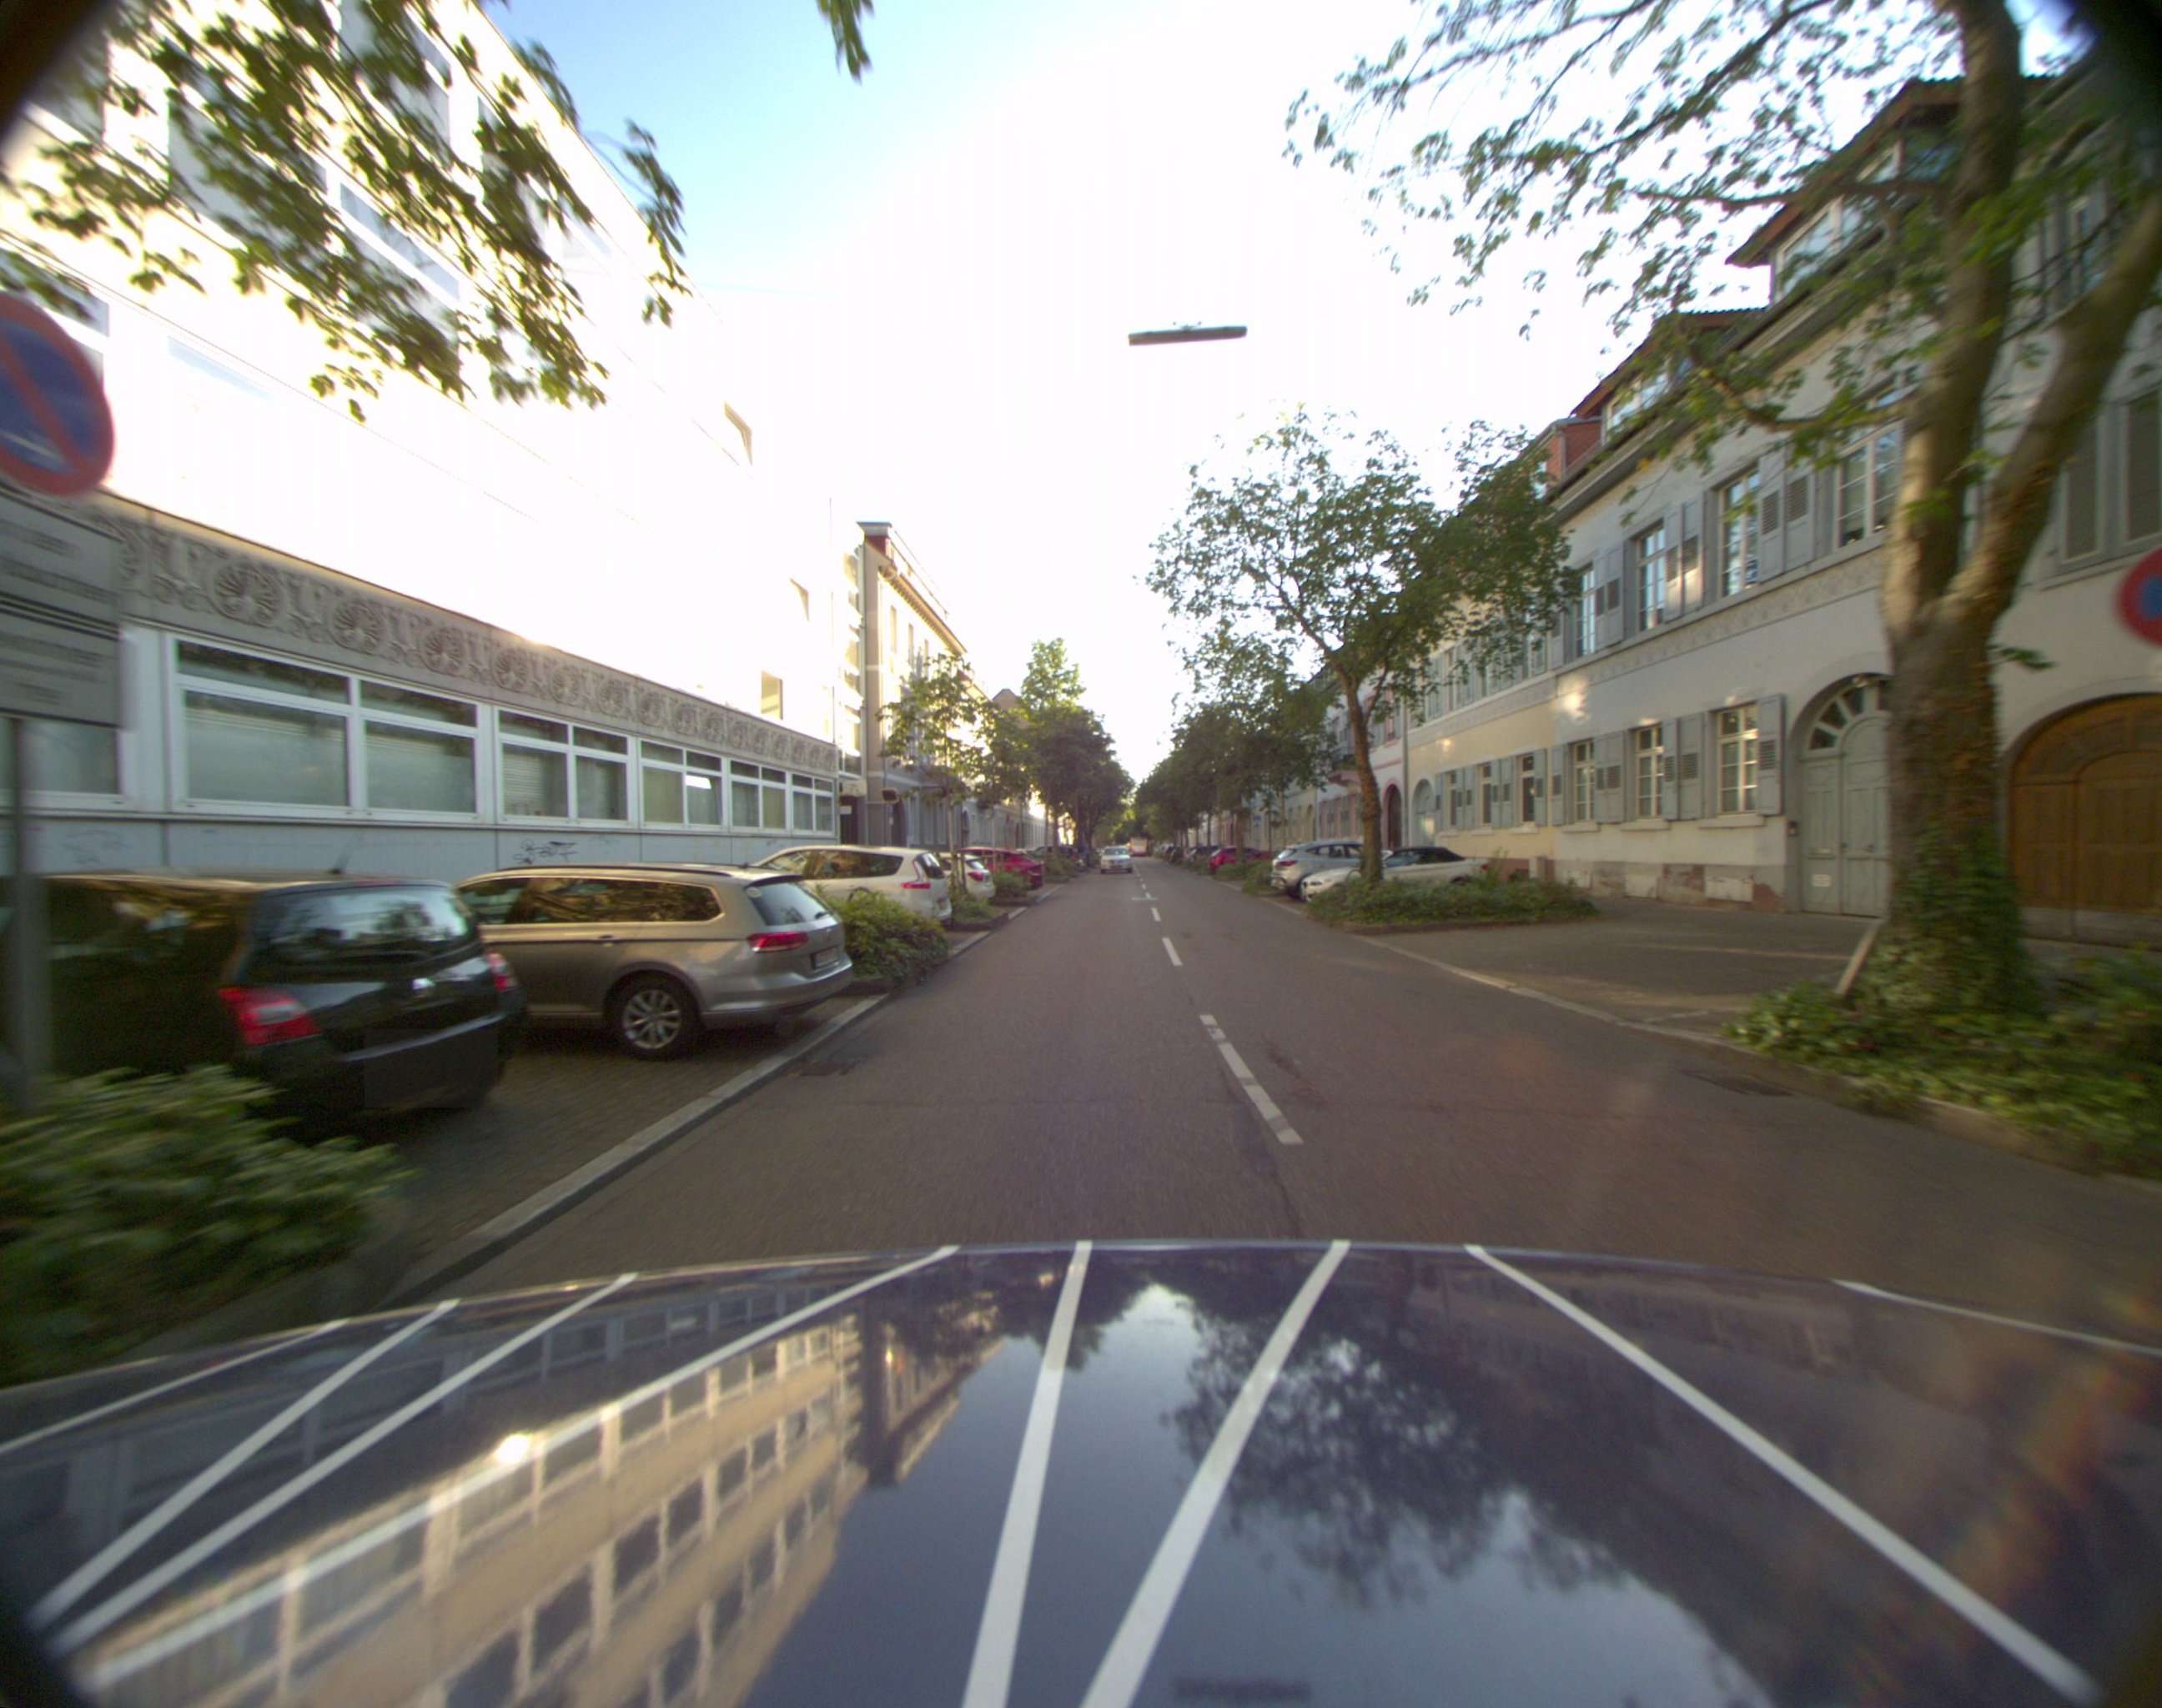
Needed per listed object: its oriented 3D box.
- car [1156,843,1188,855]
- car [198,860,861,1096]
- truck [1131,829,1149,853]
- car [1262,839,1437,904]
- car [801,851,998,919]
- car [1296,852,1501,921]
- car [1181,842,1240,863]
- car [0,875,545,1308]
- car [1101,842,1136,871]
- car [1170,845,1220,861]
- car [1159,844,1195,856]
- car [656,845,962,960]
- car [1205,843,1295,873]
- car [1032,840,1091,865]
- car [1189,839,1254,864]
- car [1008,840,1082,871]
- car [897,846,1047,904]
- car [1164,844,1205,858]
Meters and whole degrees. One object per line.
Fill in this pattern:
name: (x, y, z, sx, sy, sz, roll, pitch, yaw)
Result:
car: (12.383, -0.685, 103.725, 4.229, 1.508, 1.969, 0, 1, 1)
car: (-4.287, 0.887, 6.324, 4.367, 1.487, 1.672, 2, 1, 3)
truck: (9.769, -2.148, 125.388, 2.747, 3.723, 7.856, 0, 1, 5)
car: (7.337, 0.456, 21.061, 4.229, 1.680, 1.800, 0, 1, 1)
car: (-4.367, 0.725, 18.730, 4.367, 1.485, 1.887, 1, 1, 1)
car: (7.494, 0.741, 18.318, 4.227, 1.537, 1.801, 0, 1, 6)
car: (9.867, -0.119, 58.038, 4.229, 1.509, 1.759, 0, 1, 1)
car: (-5.506, 0.911, 3.762, 4.368, 1.456, 1.833, 2, 1, -1)
car: (2.294, 0.115, 45.444, 1.956, 1.667, 4.543, 0, 1, 4)
car: (10.301, -0.091, 68.843, 4.229, 1.468, 1.854, 0, 1, 1)
car: (12.027, -0.559, 95.256, 4.229, 1.468, 1.969, 0, 1, 1)
car: (-4.389, 0.740, 12.807, 4.367, 1.633, 2.054, 2, 1, 1)
car: (8.657, 0.175, 39.199, 4.229, 1.499, 1.800, 0, 1, 1)
car: (-1.472, -0.122, 58.197, 4.367, 1.863, 1.733, 1, 1, 1)
car: (9.825, -0.192, 53.374, 4.229, 1.654, 1.800, 0, 1, 1)
car: (-2.184, 0.091, 46.580, 4.367, 1.768, 1.733, 1, 1, 1)
car: (-3.333, 0.620, 23.690, 4.367, 1.615, 1.733, 2, 1, 1)
car: (11.041, -0.341, 81.292, 4.229, 1.468, 1.969, 0, 1, 1)
